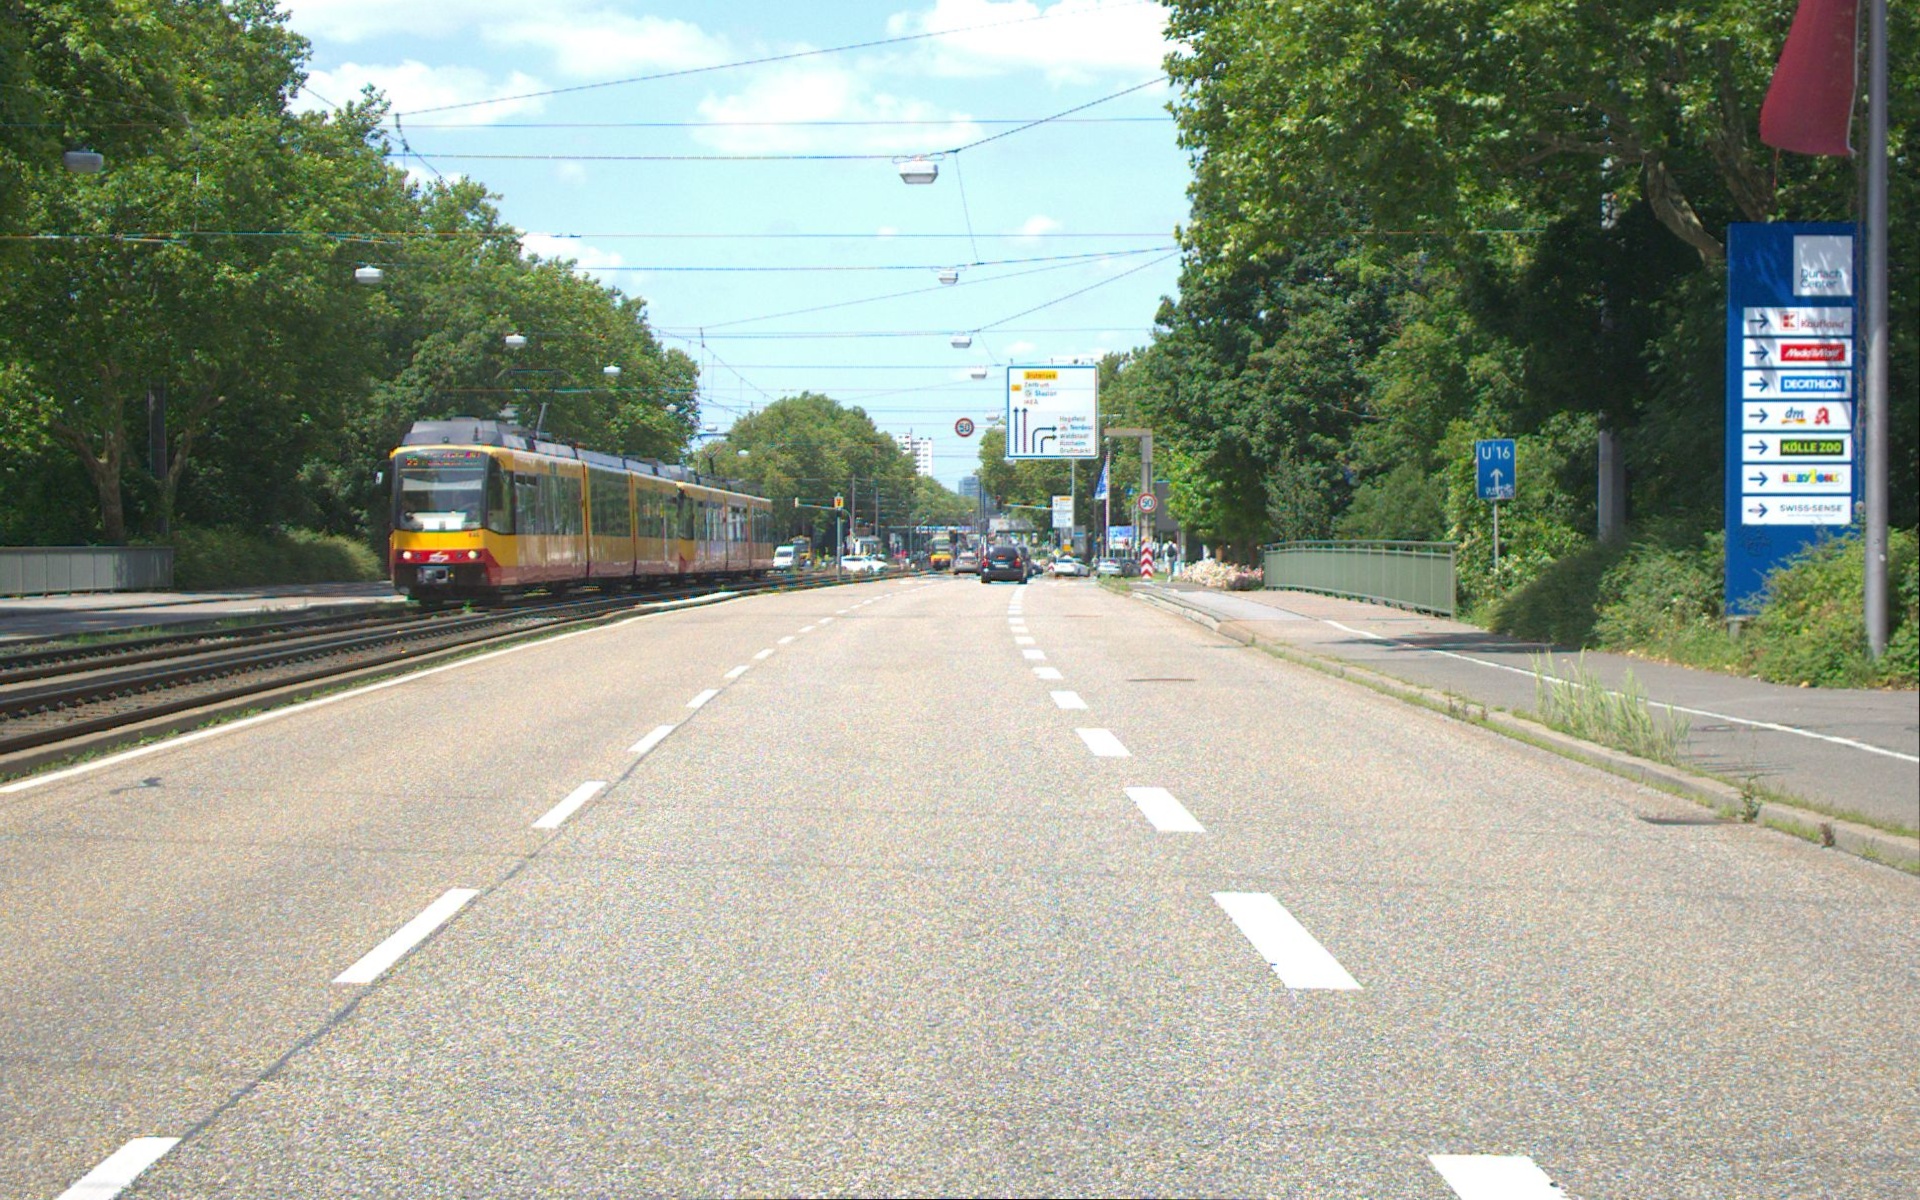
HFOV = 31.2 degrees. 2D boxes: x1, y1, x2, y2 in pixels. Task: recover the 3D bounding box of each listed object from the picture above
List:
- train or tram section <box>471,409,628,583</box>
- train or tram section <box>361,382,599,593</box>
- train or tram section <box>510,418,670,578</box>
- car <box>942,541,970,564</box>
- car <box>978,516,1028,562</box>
[{"bbox_3d":[-10.448,-2.633,88.284,3.048,4.252,8.003,0,1,0],"label":"train or tram section"},{"bbox_3d":[-10.495,-2.431,77.088,3.048,4.252,15.423,0,1,0],"label":"train or tram section"},{"bbox_3d":[-10.442,-2.839,98.445,3.048,4.252,14.037,0,1,0],"label":"train or tram section"},{"bbox_3d":[-0.317,-3.312,239.876,1.842,1.544,3.777,2,1,-1],"label":"car"},{"bbox_3d":[1.765,-2.531,143.242,1.899,1.799,3.977,2,1,-1],"label":"car"}]
